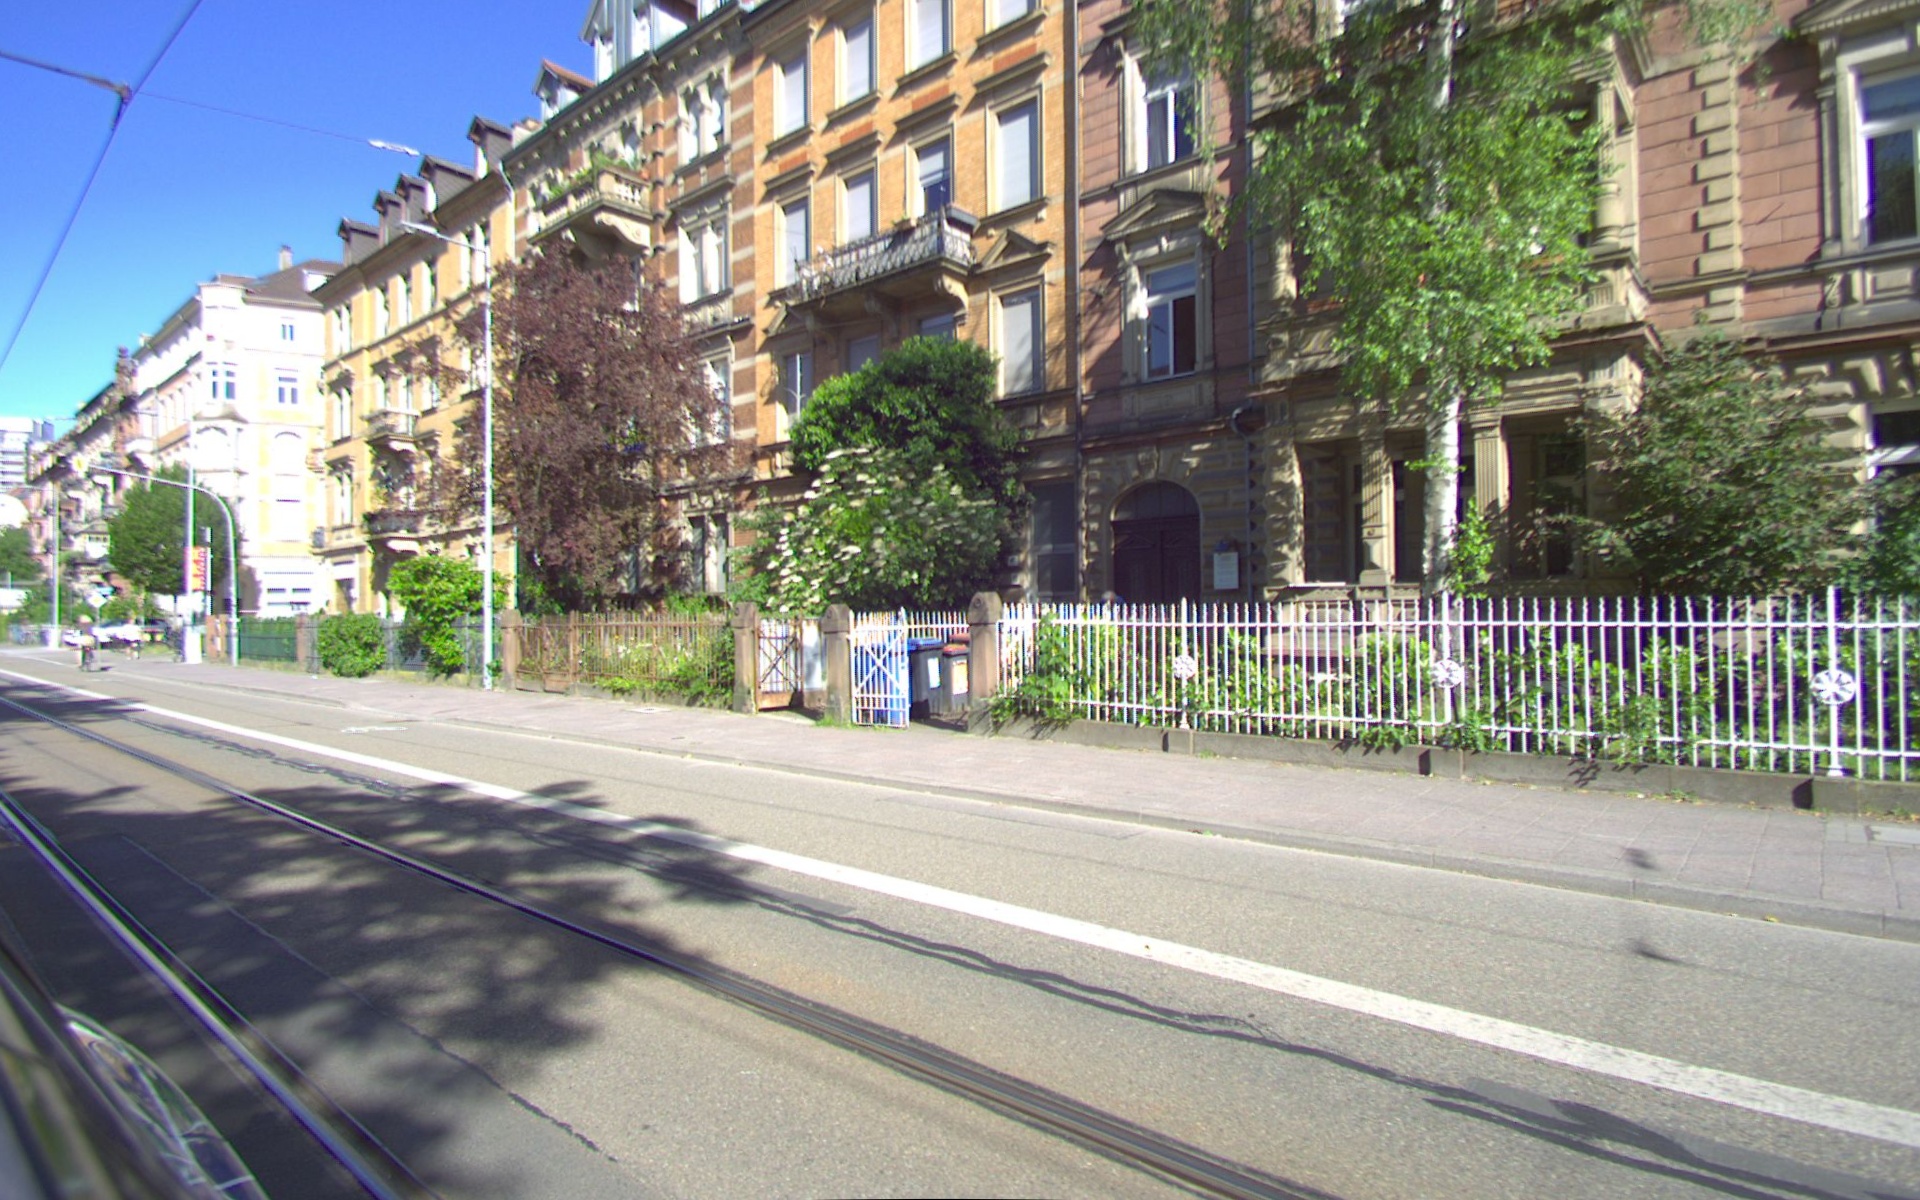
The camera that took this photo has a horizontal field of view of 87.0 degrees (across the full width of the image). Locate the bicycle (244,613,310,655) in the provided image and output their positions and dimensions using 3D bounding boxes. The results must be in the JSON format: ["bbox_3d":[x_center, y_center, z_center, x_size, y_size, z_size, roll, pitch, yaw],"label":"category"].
[{"bbox_3d":[-23.099,1.126,34.258,0.612,1.330,1.749,-2,0,31],"label":"bicycle"}]

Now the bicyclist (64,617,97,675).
[{"bbox_3d":[-28.013,1.448,32.238,0.615,1.815,0.653,-1,-3,41],"label":"bicyclist"}]

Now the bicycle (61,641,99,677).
[{"bbox_3d":[-28.134,1.863,32.332,1.718,1.121,0.684,-2,-2,41],"label":"bicycle"}]

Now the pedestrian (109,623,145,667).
[{"bbox_3d":[-34.144,1.832,41.497,0.817,1.736,1.086,-1,1,-24],"label":"pedestrian"}]

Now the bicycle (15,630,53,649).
[{"bbox_3d":[-54.221,2.302,59.266,1.745,1.041,0.564,-3,0,5],"label":"bicycle"}]

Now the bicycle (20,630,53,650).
[{"bbox_3d":[-55.016,2.396,60.298,1.752,1.041,0.562,-3,2,17],"label":"bicycle"}]

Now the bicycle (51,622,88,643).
[{"bbox_3d":[-58.456,2.130,66.446,0.564,1.163,1.744,-2,2,40],"label":"bicycle"}]

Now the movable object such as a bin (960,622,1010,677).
[{"bbox_3d":[0.440,0.860,17.833,0.604,0.910,0.580,-2,3,40],"label":"movable object such as a bin"}]

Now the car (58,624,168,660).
[{"bbox_3d":[-46.165,2.255,55.223,1.967,1.656,4.397,-1,1,43],"label":"car"}]

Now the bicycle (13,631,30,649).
[{"bbox_3d":[-57.804,2.461,62.326,1.766,1.041,0.557,-2,0,41],"label":"bicycle"}]

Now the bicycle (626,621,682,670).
[{"bbox_3d":[-6.559,0.964,21.720,0.295,0.979,1.134,-2,0,45],"label":"bicycle"}]

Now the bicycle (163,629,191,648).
[{"bbox_3d":[-40.171,1.955,51.946,0.611,0.921,1.298,0,1,-11],"label":"bicycle"}]

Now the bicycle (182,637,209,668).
[{"bbox_3d":[-25.958,1.782,34.361,1.869,1.008,0.331,-2,0,42],"label":"bicycle"}]

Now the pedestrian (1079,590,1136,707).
[{"bbox_3d":[2.186,0.703,14.966,0.606,1.686,0.508,-2,0,40],"label":"pedestrian"}]

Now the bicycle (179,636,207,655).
[{"bbox_3d":[-41.052,2.438,54.178,0.244,0.921,1.540,0,1,5],"label":"bicycle"}]

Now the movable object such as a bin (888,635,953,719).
[{"bbox_3d":[-0.536,1.024,13.684,0.619,1.062,0.579,-2,0,40],"label":"movable object such as a bin"}]

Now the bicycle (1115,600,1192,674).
[{"bbox_3d":[2.907,0.534,15.093,0.424,1.020,1.445,-2,0,41],"label":"bicycle"}]

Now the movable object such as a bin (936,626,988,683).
[{"bbox_3d":[0.036,0.920,17.344,0.604,0.910,0.580,-2,3,40],"label":"movable object such as a bin"}]

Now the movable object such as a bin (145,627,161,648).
[{"bbox_3d":[-42.267,1.944,53.011,0.568,1.079,0.718,-2,0,-35],"label":"movable object such as a bin"}]

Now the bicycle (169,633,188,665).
[{"bbox_3d":[-28.040,1.756,36.327,0.808,1.134,0.367,-2,0,41],"label":"bicycle"}]

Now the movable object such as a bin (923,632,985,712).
[{"bbox_3d":[-0.084,0.994,14.167,0.619,1.062,0.579,-2,0,40],"label":"movable object such as a bin"}]

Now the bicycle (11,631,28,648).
[{"bbox_3d":[-59.750,2.532,64.284,1.766,1.041,0.557,-2,0,41],"label":"bicycle"}]

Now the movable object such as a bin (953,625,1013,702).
[{"bbox_3d":[0.338,0.906,14.706,0.619,1.062,0.579,-2,0,40],"label":"movable object such as a bin"}]

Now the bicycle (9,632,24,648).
[{"bbox_3d":[-62.561,2.650,67.076,1.767,1.041,0.557,-3,0,42],"label":"bicycle"}]

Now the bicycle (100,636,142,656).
[{"bbox_3d":[-42.847,2.322,51.704,0.613,0.921,1.786,0,1,5],"label":"bicycle"}]
